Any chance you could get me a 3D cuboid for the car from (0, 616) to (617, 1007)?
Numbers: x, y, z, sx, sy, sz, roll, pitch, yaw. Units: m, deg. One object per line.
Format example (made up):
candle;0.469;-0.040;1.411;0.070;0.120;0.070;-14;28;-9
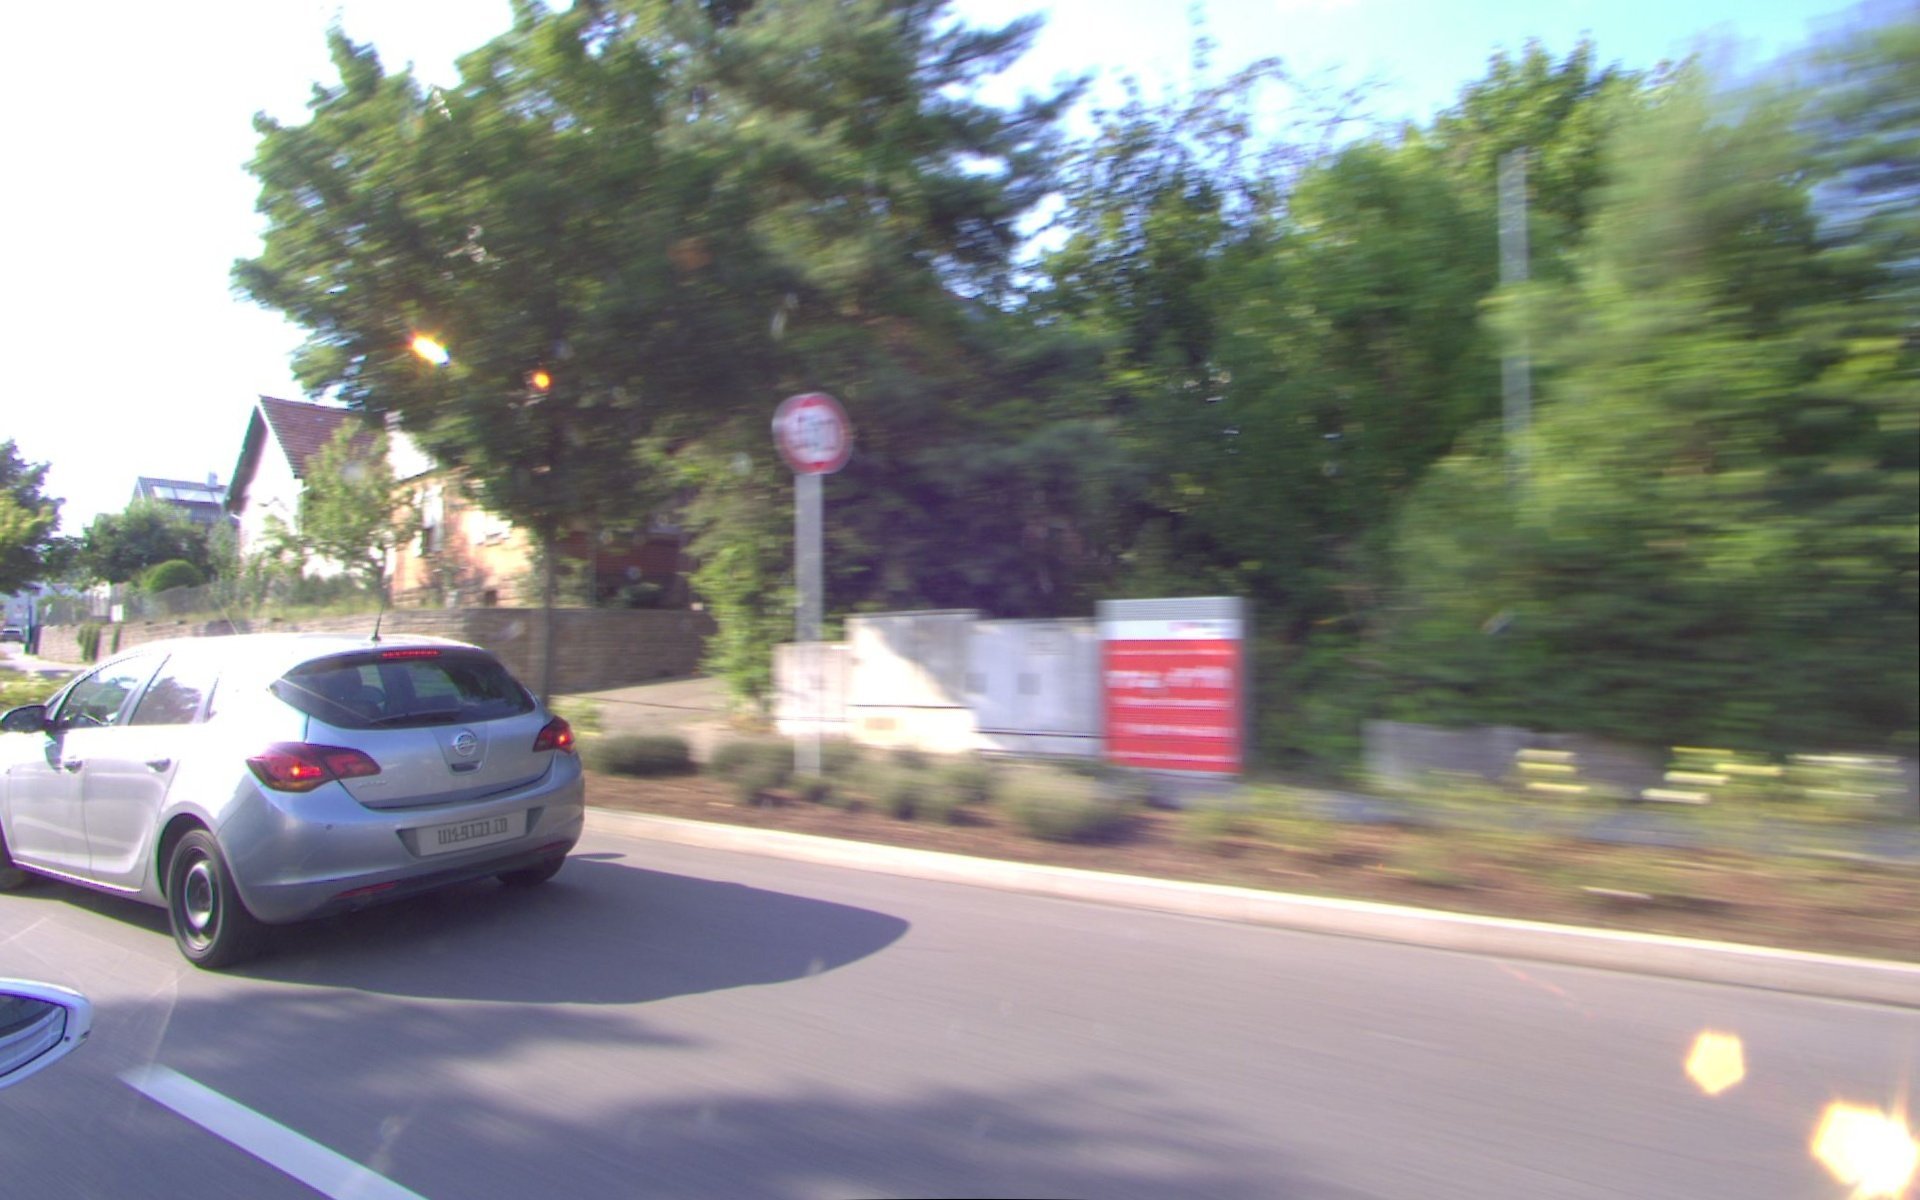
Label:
car;-4.066;0.848;5.749;4.244;1.510;1.718;0;-1;32
